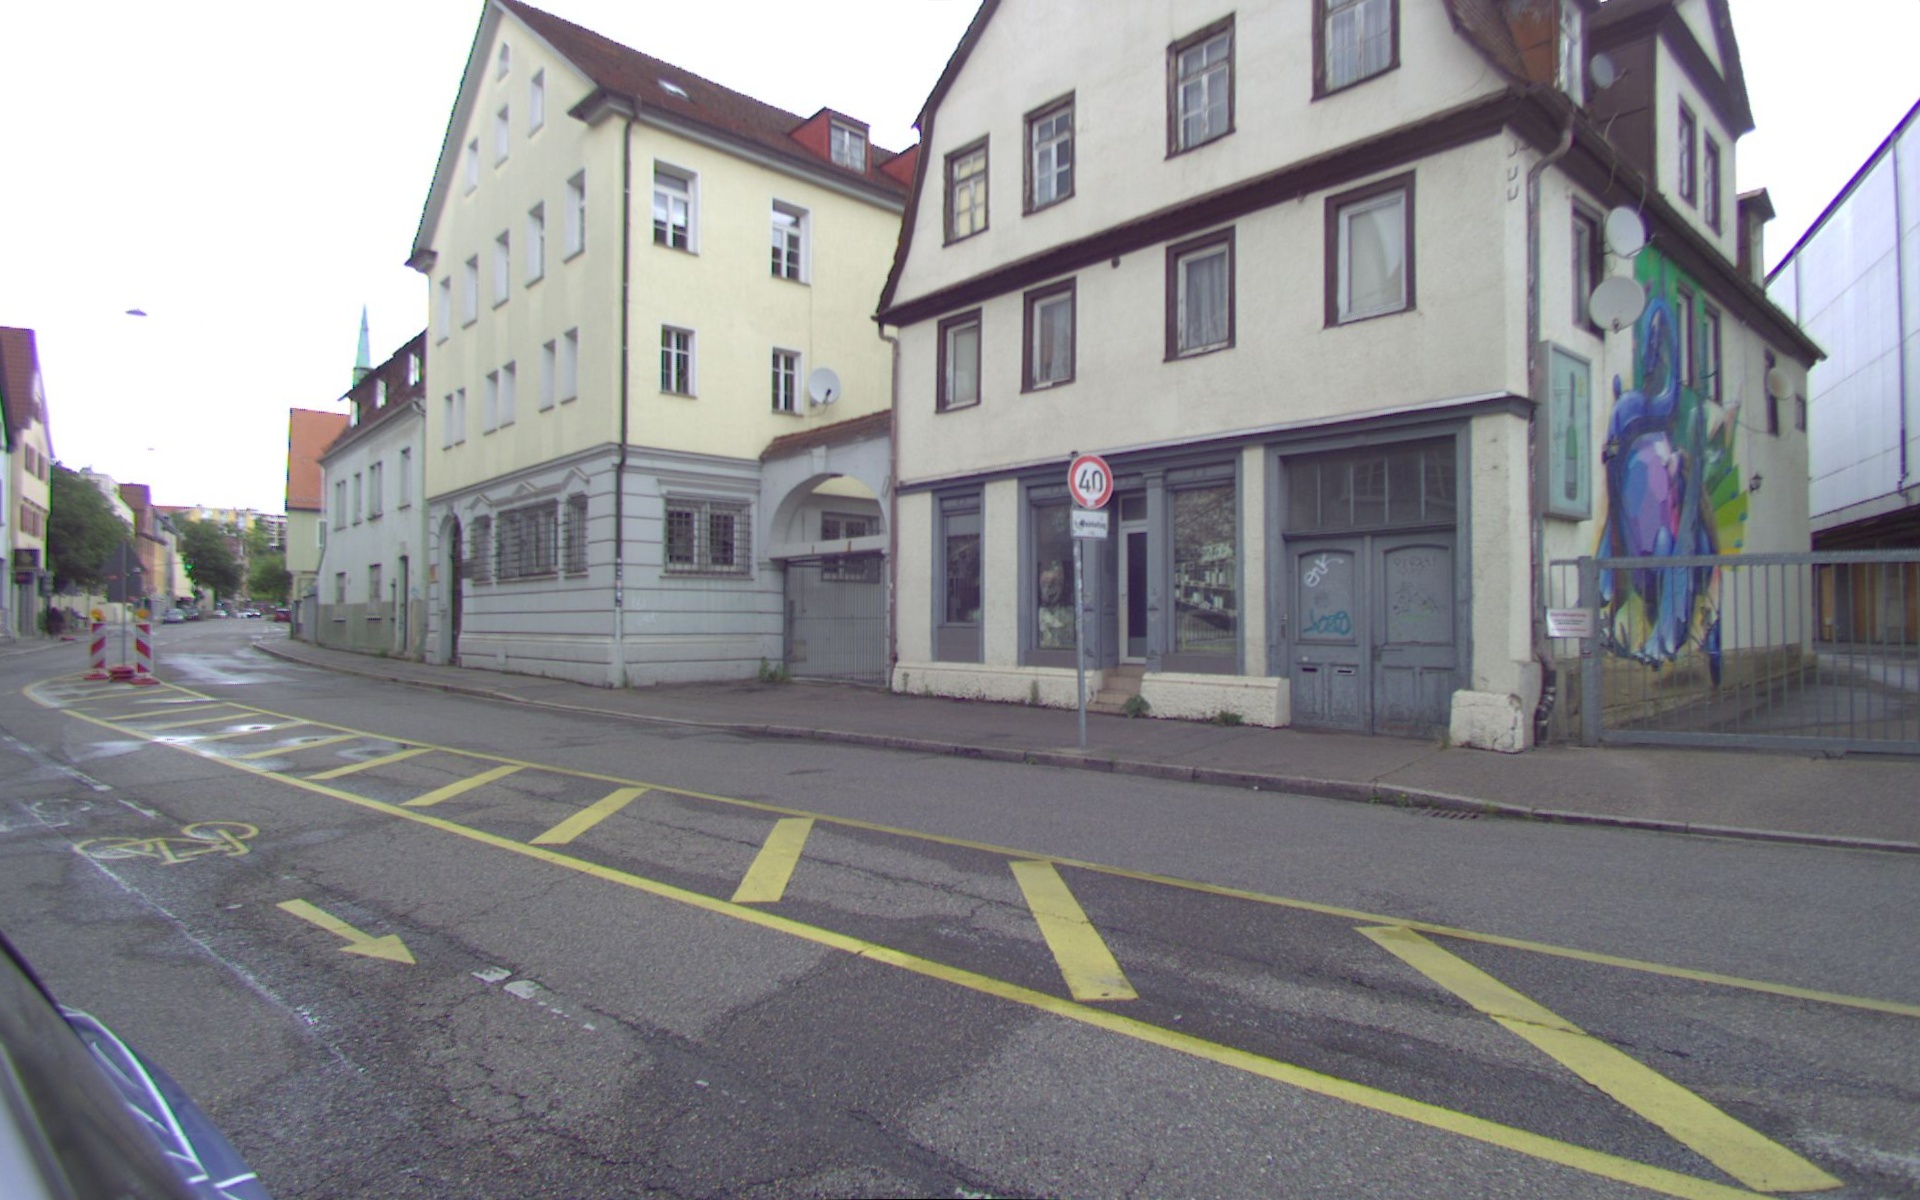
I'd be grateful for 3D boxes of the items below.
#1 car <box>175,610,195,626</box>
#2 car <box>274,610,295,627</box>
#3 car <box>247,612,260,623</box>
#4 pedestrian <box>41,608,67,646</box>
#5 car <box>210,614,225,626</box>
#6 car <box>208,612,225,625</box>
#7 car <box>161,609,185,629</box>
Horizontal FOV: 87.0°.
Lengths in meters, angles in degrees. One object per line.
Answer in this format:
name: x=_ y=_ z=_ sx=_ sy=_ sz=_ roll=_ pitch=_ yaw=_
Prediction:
car: x=-97.042 y=2.257 z=126.755 sx=1.967 sy=2.029 sz=4.009 roll=1 pitch=-2 yaw=-37
car: x=-85.671 y=2.339 z=128.353 sx=2.027 sy=2.029 sz=4.009 roll=1 pitch=-2 yaw=-37
car: x=-137.594 y=3.425 z=197.162 sx=1.967 sy=2.029 sz=4.009 roll=1 pitch=-2 yaw=-37
pedestrian: x=-46.115 y=1.372 z=51.520 sx=0.864 sy=1.914 sz=0.899 roll=1 pitch=-2 yaw=-36
car: x=-123.523 y=3.335 z=168.287 sx=1.967 sy=2.029 sz=4.009 roll=1 pitch=-2 yaw=-37
car: x=-114.777 y=2.872 z=156.216 sx=1.967 sy=2.029 sz=4.009 roll=1 pitch=-2 yaw=-37
car: x=-84.798 y=2.068 z=109.038 sx=1.967 sy=2.029 sz=4.009 roll=1 pitch=-2 yaw=-37
